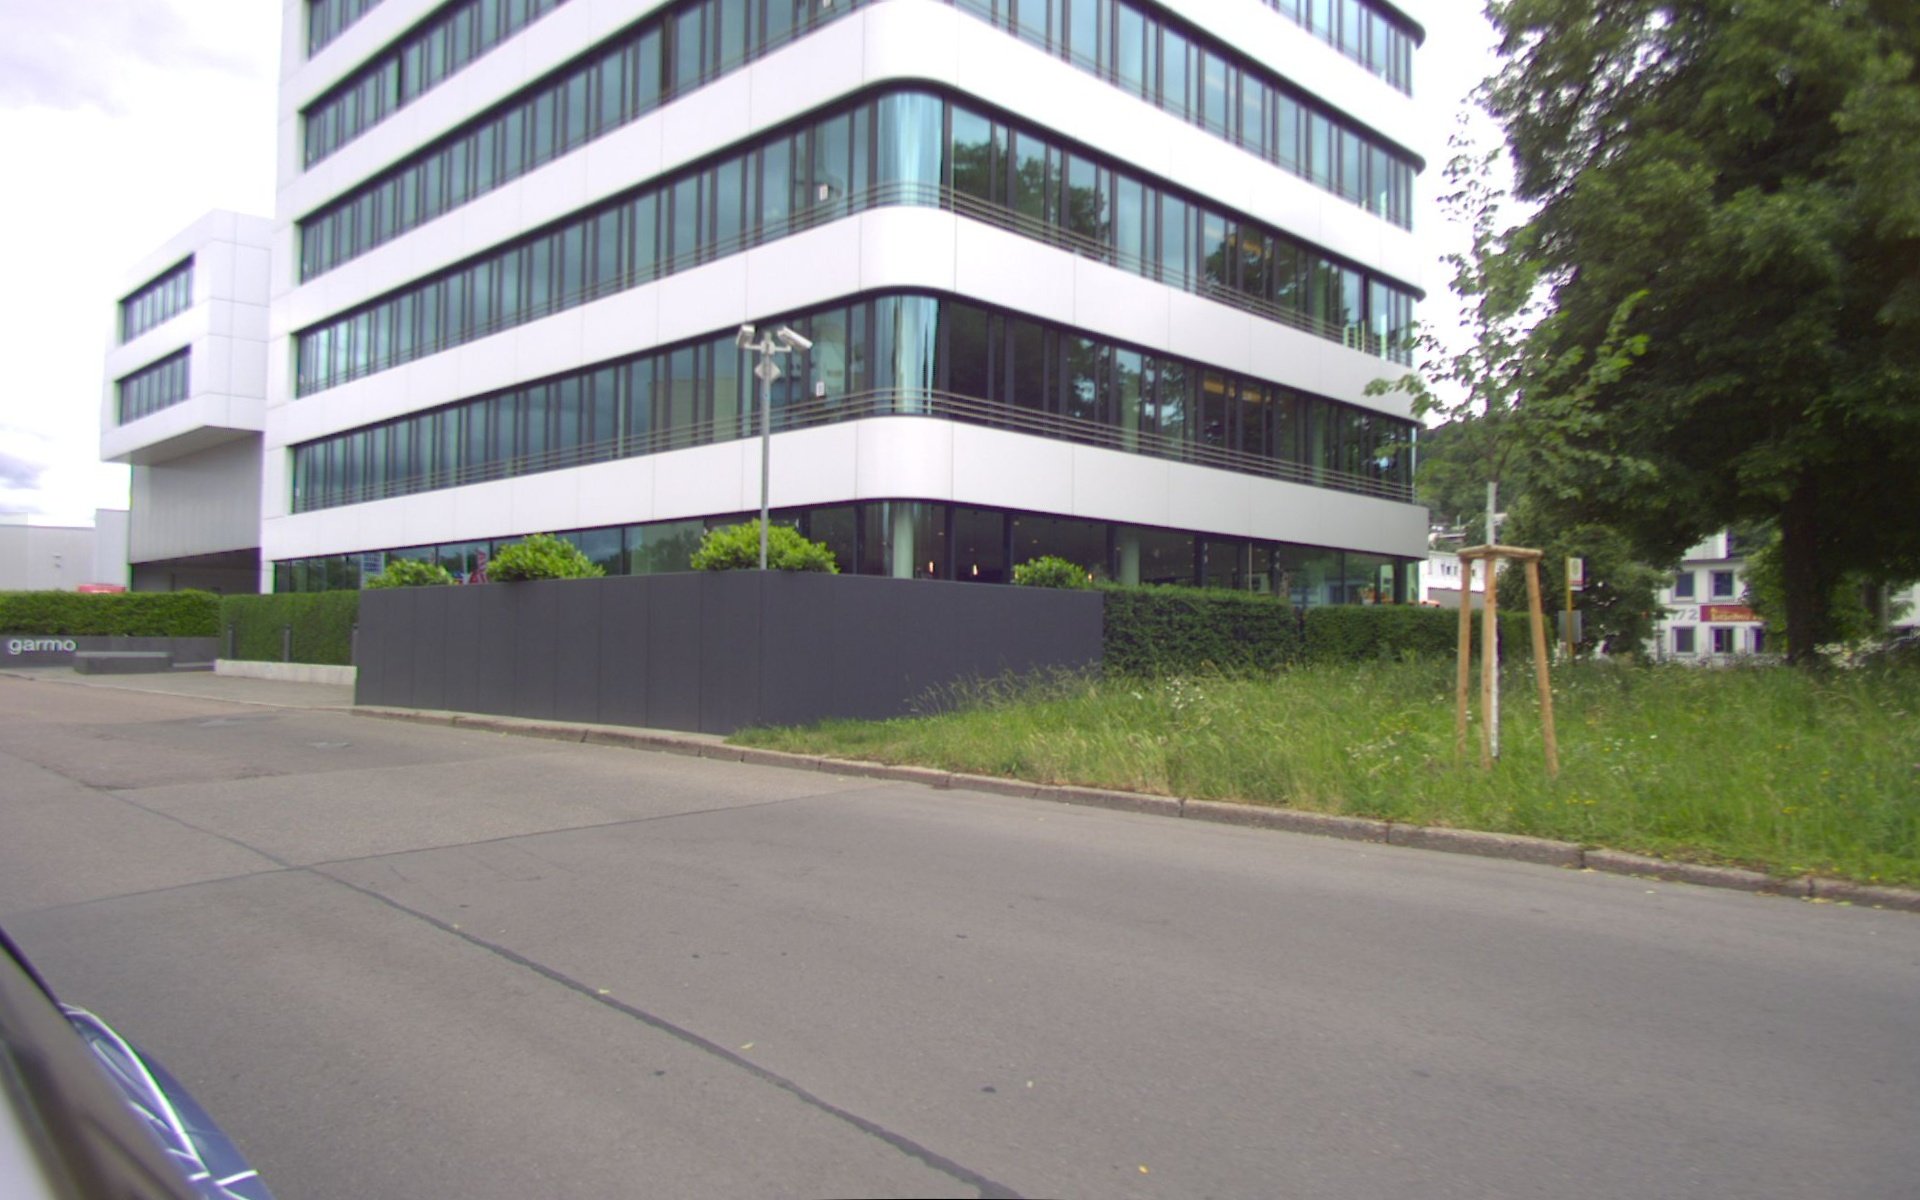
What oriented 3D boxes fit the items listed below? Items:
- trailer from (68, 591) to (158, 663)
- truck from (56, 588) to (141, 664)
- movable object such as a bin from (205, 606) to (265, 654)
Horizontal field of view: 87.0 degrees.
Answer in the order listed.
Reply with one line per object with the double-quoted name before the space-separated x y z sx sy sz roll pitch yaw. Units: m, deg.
"trailer" -52.769 1.810 63.384 2.705 4.062 12.651 2 -3 -33
"truck" -49.459 1.571 58.275 2.705 4.062 7.111 2 -3 -33
"movable object such as a bin" -35.422 1.499 49.497 2.117 2.240 1.757 3 -4 -31
